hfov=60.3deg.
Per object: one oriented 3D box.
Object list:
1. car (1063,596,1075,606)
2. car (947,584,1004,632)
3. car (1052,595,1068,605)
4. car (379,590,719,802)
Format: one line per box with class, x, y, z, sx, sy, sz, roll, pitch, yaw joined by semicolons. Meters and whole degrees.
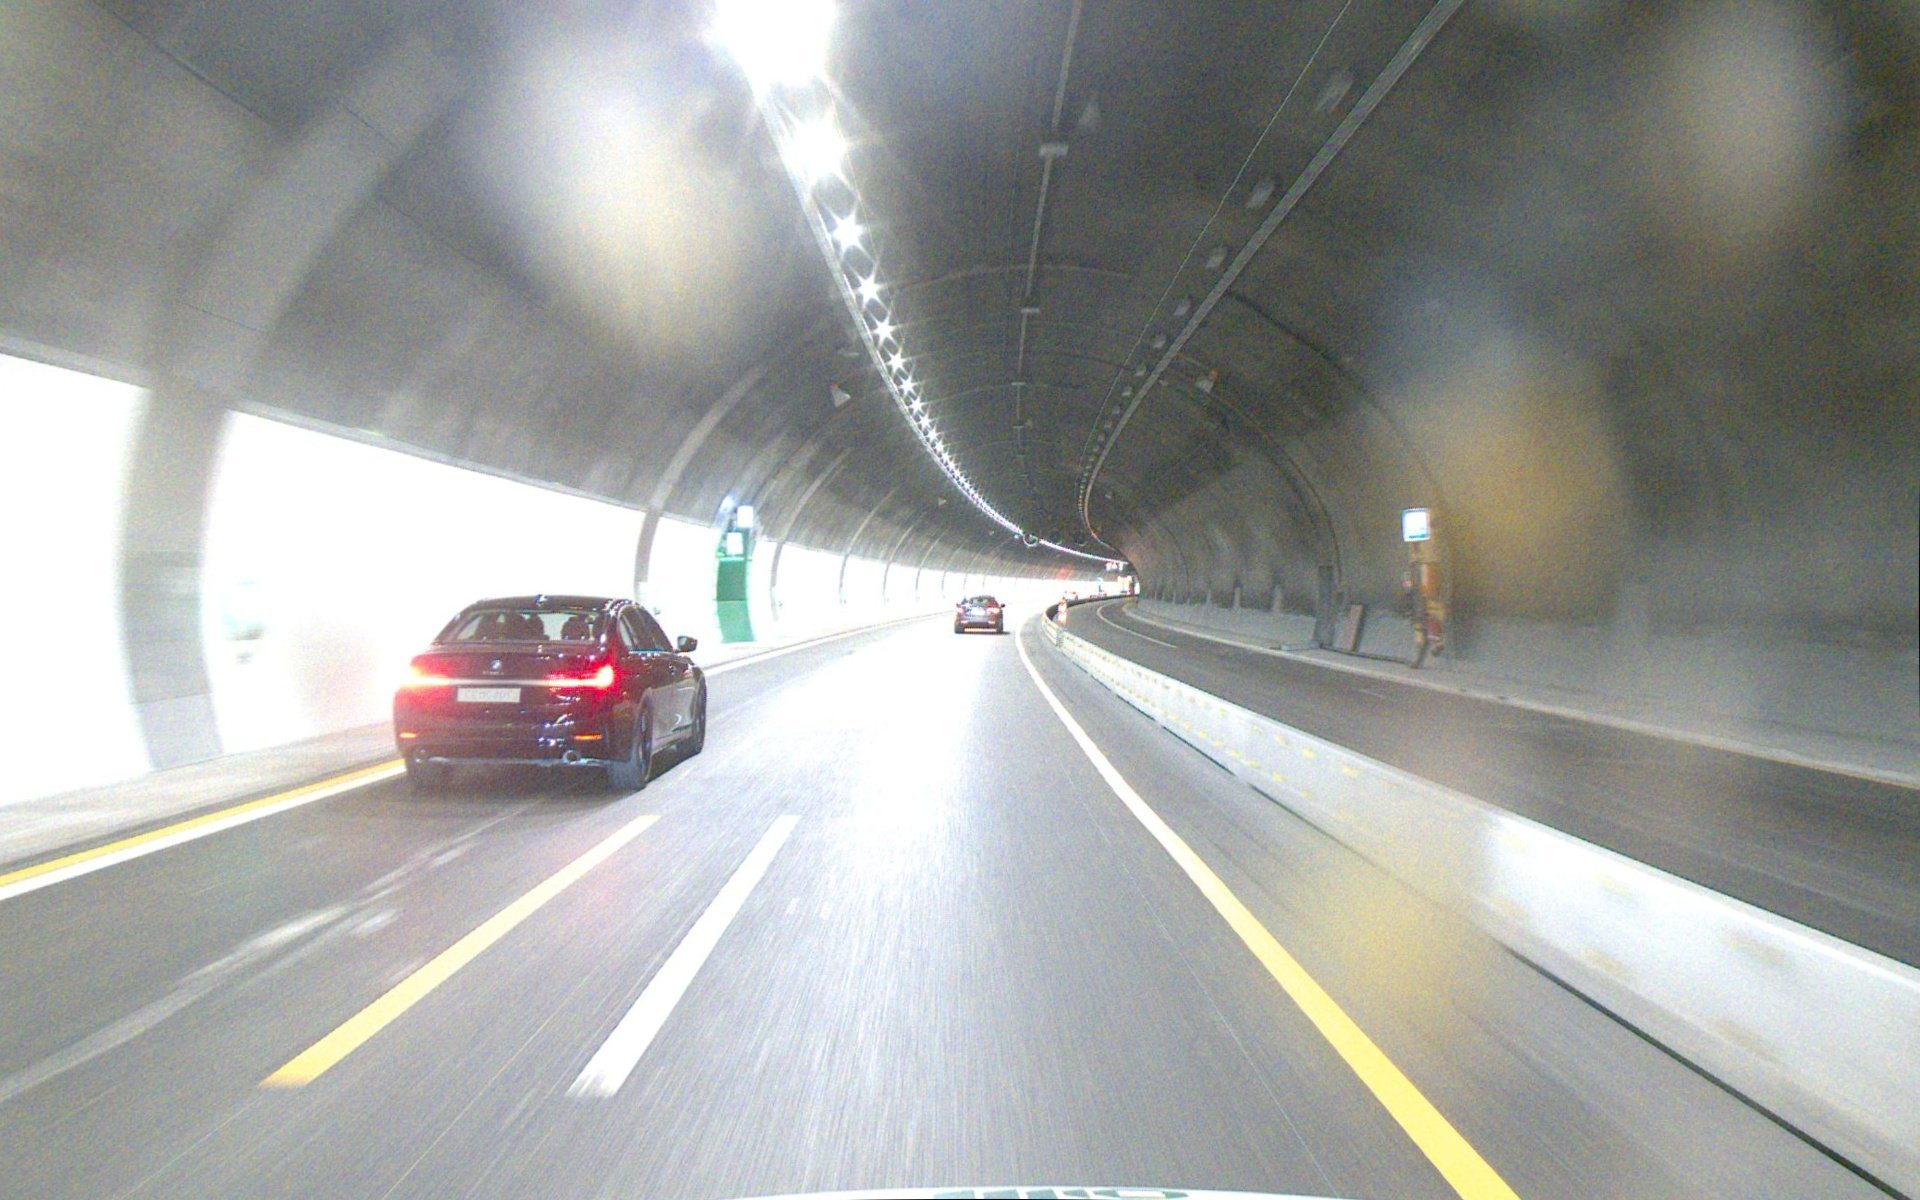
car;14.871;0.098;225.672;1.561;1.356;3.752;0;0;4
car;0.620;0.282;63.327;2.097;1.735;4.001;0;0;1
car;15.901;0.045;262.390;2.118;1.512;4.004;0;0;9
car;-3.225;0.655;14.006;1.742;1.463;4.881;1;0;-1
